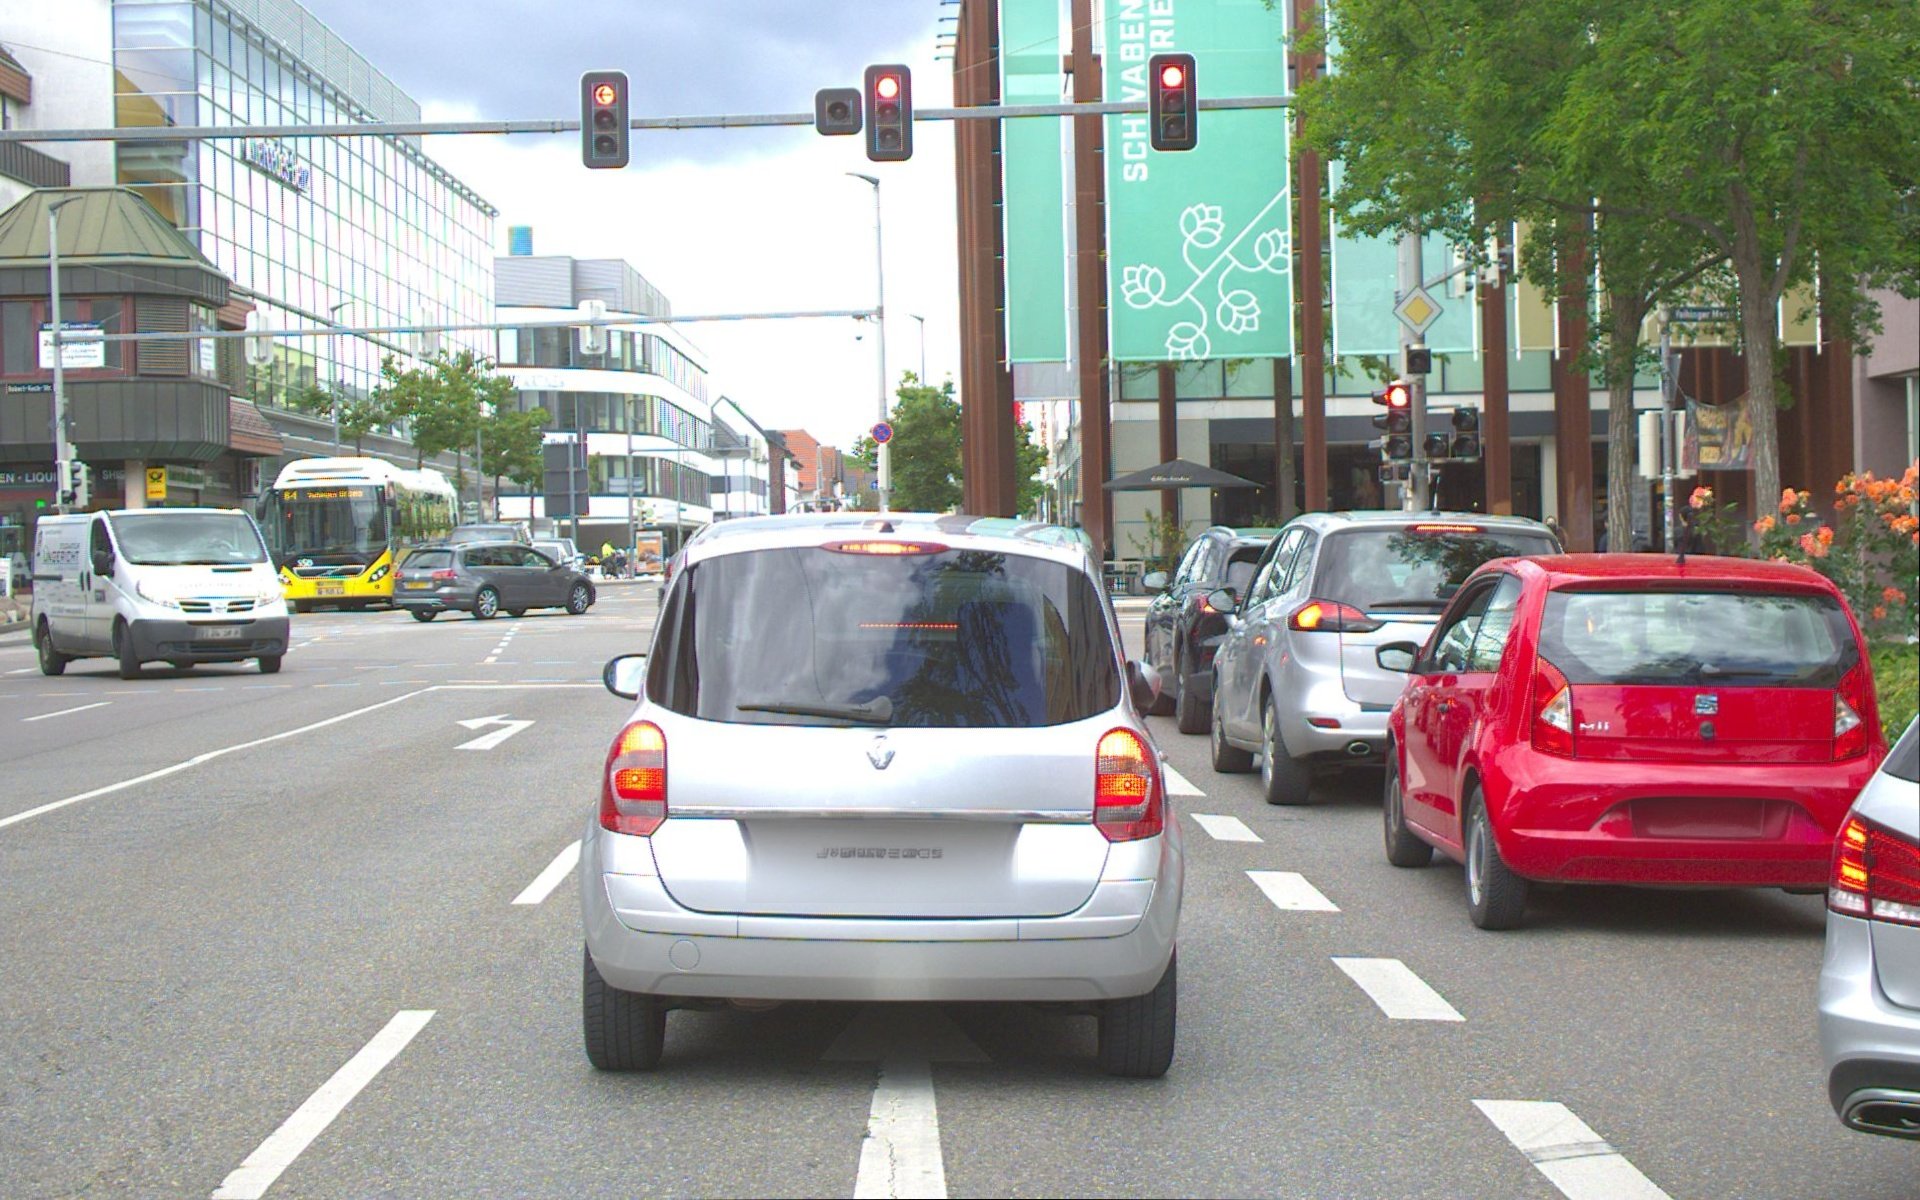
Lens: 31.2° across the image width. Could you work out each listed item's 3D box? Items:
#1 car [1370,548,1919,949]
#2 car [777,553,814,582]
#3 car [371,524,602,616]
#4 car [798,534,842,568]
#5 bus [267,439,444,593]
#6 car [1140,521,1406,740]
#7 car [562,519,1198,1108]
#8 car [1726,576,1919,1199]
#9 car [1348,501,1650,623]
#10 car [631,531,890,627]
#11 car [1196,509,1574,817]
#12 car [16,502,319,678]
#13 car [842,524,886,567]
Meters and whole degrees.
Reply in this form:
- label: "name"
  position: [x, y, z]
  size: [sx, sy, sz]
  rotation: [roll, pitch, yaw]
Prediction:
- label: "car"
  position: [2.735, 0.525, 14.382]
  size: [1.586, 1.438, 3.348]
  rotation: [1, 1, -1]
- label: "car"
  position: [-9.237, -1.823, 193.375]
  size: [1.801, 1.535, 4.065]
  rotation: [-1, 1, 1]
- label: "car"
  position: [-8.981, -0.591, 65.452]
  size: [1.921, 1.671, 4.233]
  rotation: [0, 1, 37]
- label: "car"
  position: [-6.506, -2.278, 159.645]
  size: [1.801, 1.535, 4.065]
  rotation: [-1, 1, 1]
- label: "bus"
  position: [-13.511, -1.884, 77.467]
  size: [2.686, 3.250, 8.654]
  rotation: [-1, 1, -2]
- label: "car"
  position: [2.405, 0.184, 27.234]
  size: [1.586, 1.589, 3.868]
  rotation: [1, 1, -2]
- label: "car"
  position: [-0.231, 0.521, 10.621]
  size: [1.640, 1.522, 3.394]
  rotation: [0, 1, -1]
- label: "car"
  position: [3.833, 0.697, 8.301]
  size: [1.820, 1.443, 4.358]
  rotation: [2, 1, 44]
- label: "car"
  position: [8.189, -0.586, 52.415]
  size: [4.385, 1.767, 1.327]
  rotation: [-1, 1, 0]
- label: "car"
  position: [-3.015, -0.328, 52.525]
  size: [3.830, 1.384, 1.684]
  rotation: [-1, 1, 0]
- label: "car"
  position: [2.418, 0.302, 20.416]
  size: [1.586, 1.628, 3.917]
  rotation: [1, 1, -2]
- label: "car"
  position: [-9.454, -0.131, 40.693]
  size: [1.993, 1.881, 5.158]
  rotation: [-3, 2, -30]
- label: "car"
  position: [-4.504, -2.550, 160.516]
  size: [1.993, 1.942, 4.951]
  rotation: [-1, 1, -2]
